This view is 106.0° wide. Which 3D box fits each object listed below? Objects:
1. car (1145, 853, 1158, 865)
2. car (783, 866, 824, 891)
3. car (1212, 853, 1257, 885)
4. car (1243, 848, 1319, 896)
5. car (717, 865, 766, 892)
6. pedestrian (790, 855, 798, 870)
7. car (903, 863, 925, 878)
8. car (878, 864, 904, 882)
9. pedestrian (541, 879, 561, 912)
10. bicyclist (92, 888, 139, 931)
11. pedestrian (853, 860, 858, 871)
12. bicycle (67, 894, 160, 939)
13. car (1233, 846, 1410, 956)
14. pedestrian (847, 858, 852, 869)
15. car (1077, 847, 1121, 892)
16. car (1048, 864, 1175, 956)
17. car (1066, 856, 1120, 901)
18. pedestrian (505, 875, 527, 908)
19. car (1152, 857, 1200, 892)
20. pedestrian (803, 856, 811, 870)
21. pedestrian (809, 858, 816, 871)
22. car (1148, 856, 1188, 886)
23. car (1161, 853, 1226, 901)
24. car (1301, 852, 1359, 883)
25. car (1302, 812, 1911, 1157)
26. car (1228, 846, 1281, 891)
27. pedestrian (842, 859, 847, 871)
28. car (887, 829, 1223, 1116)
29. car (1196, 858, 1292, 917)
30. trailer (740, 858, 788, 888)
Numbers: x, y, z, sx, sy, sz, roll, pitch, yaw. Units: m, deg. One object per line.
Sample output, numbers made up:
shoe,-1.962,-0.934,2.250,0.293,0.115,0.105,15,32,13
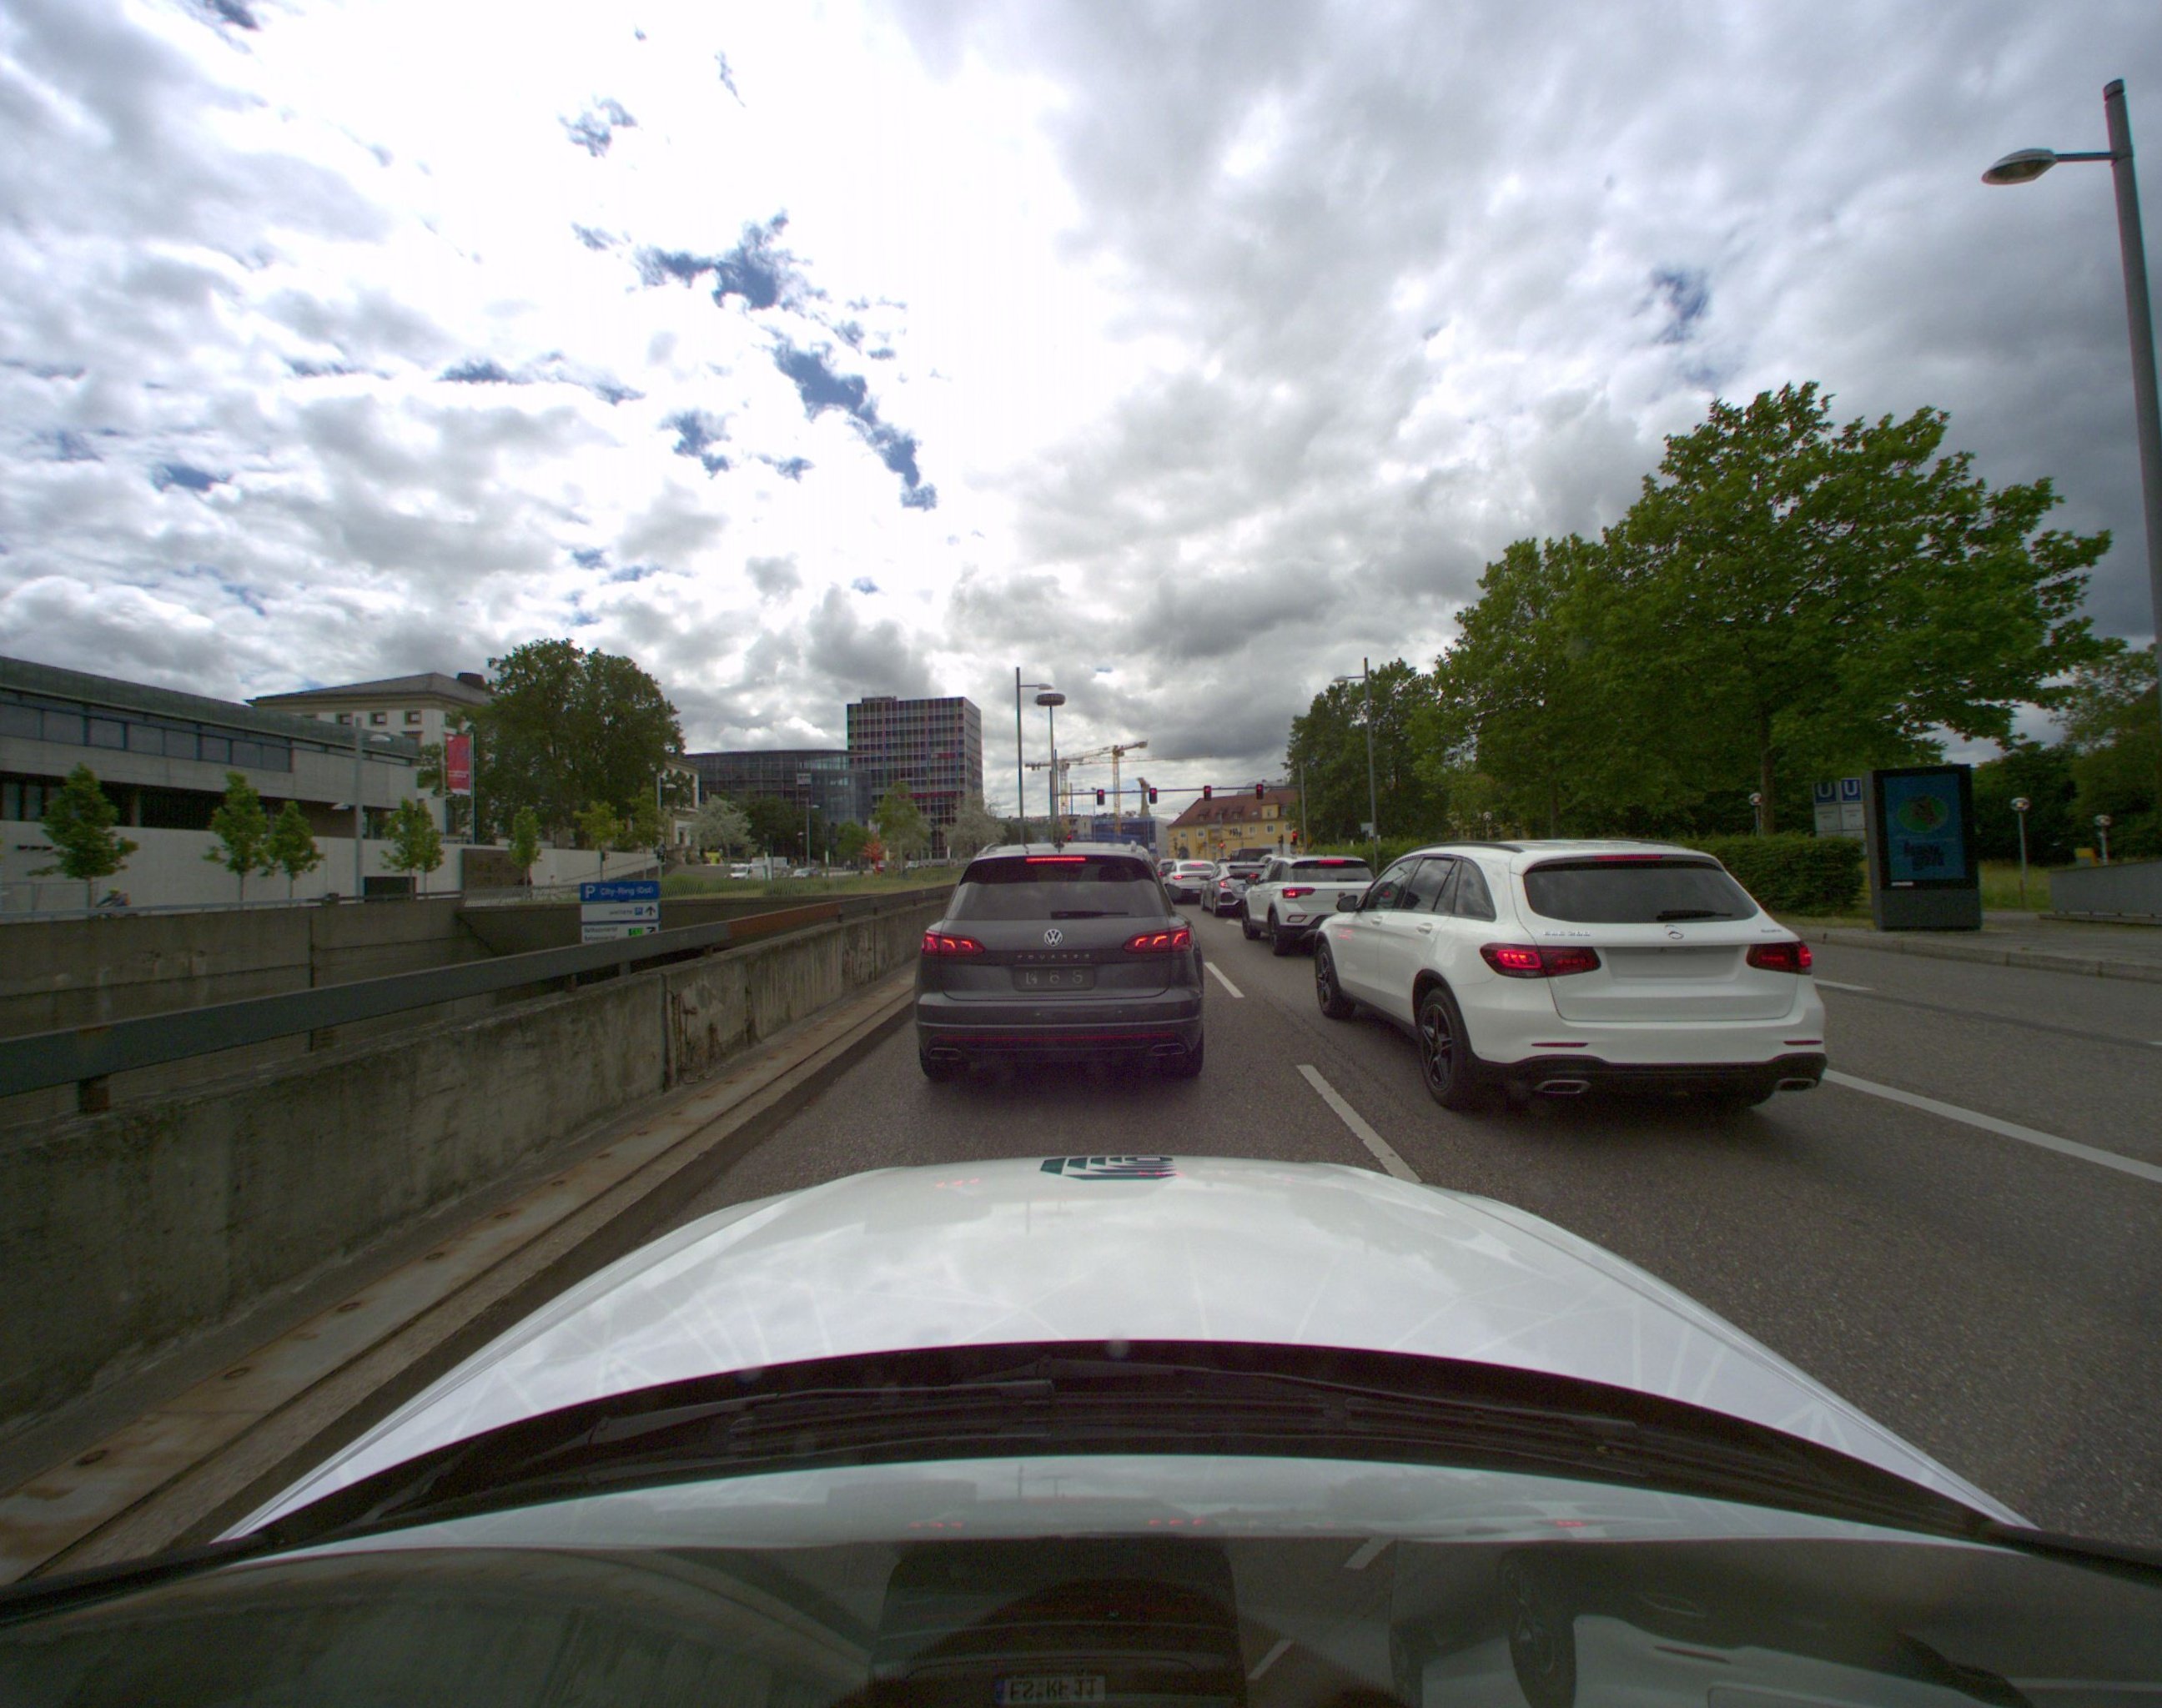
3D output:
car,9.685,0.699,111.334,1.612,1.627,4.002,0,-2,3
car,-25.685,2.214,75.509,1.985,2.013,4.695,-2,1,3
car,8.346,0.822,44.634,1.902,1.697,4.014,0,-1,3
car,7.823,0.658,32.290,1.986,1.639,4.306,-2,1,1
car,-28.820,2.039,69.282,1.985,2.013,4.695,-2,1,3
pedestrian,-39.853,1.171,113.210,0.735,2.013,0.793,-2,1,2
car,-24.180,2.360,118.034,1.986,2.013,4.693,-2,1,1
car,-24.150,2.403,103.660,1.986,2.013,4.694,-2,1,2
pedestrian,-32.634,2.546,50.124,0.621,2.013,0.868,-1,1,43
bicyclist,-35.714,2.038,30.140,0.728,1.554,0.776,0,-2,1
pedestrian,-41.472,2.068,149.969,0.739,2.013,0.789,-2,1,-14
bicycle,-35.713,2.275,30.104,0.723,1.536,2.190,0,-2,1
car,3.887,0.717,13.995,1.918,1.551,4.493,-1,-1,3
pedestrian,-42.542,1.725,149.465,0.739,2.013,0.789,-2,1,-14
car,0.876,0.713,38.681,1.944,2.018,3.932,0,0,1
car,0.526,0.885,14.506,1.944,1.384,3.932,0,0,1
car,0.478,0.877,31.148,1.944,1.600,3.932,0,0,1
pedestrian,-35.982,2.387,51.896,0.732,2.013,0.797,-1,1,18
car,4.341,0.939,37.776,1.918,1.529,4.050,-1,-1,3
pedestrian,-38.391,1.257,113.992,0.735,2.014,0.794,-2,-3,4
pedestrian,-42.920,1.629,130.267,0.787,2.013,0.741,-2,1,1
car,4.660,0.929,44.061,1.918,1.529,4.050,-1,-1,3
car,3.906,0.798,28.961,1.918,1.529,4.493,-1,-1,3
car,12.113,0.677,39.852,1.921,1.460,4.535,0,-1,7
car,3.155,0.637,6.215,1.918,1.653,4.493,-1,0,3
car,8.262,0.687,39.054,1.902,2.014,4.014,0,-1,3
pedestrian,-41.818,1.928,143.840,0.741,2.013,0.787,-2,1,-20
car,-0.098,0.710,6.781,1.944,1.651,4.001,-1,0,1
car,4.318,0.856,22.220,1.918,1.432,4.493,-1,-1,3
trailer,-28.858,1.697,74.388,2.030,2.604,5.511,0,0,2
